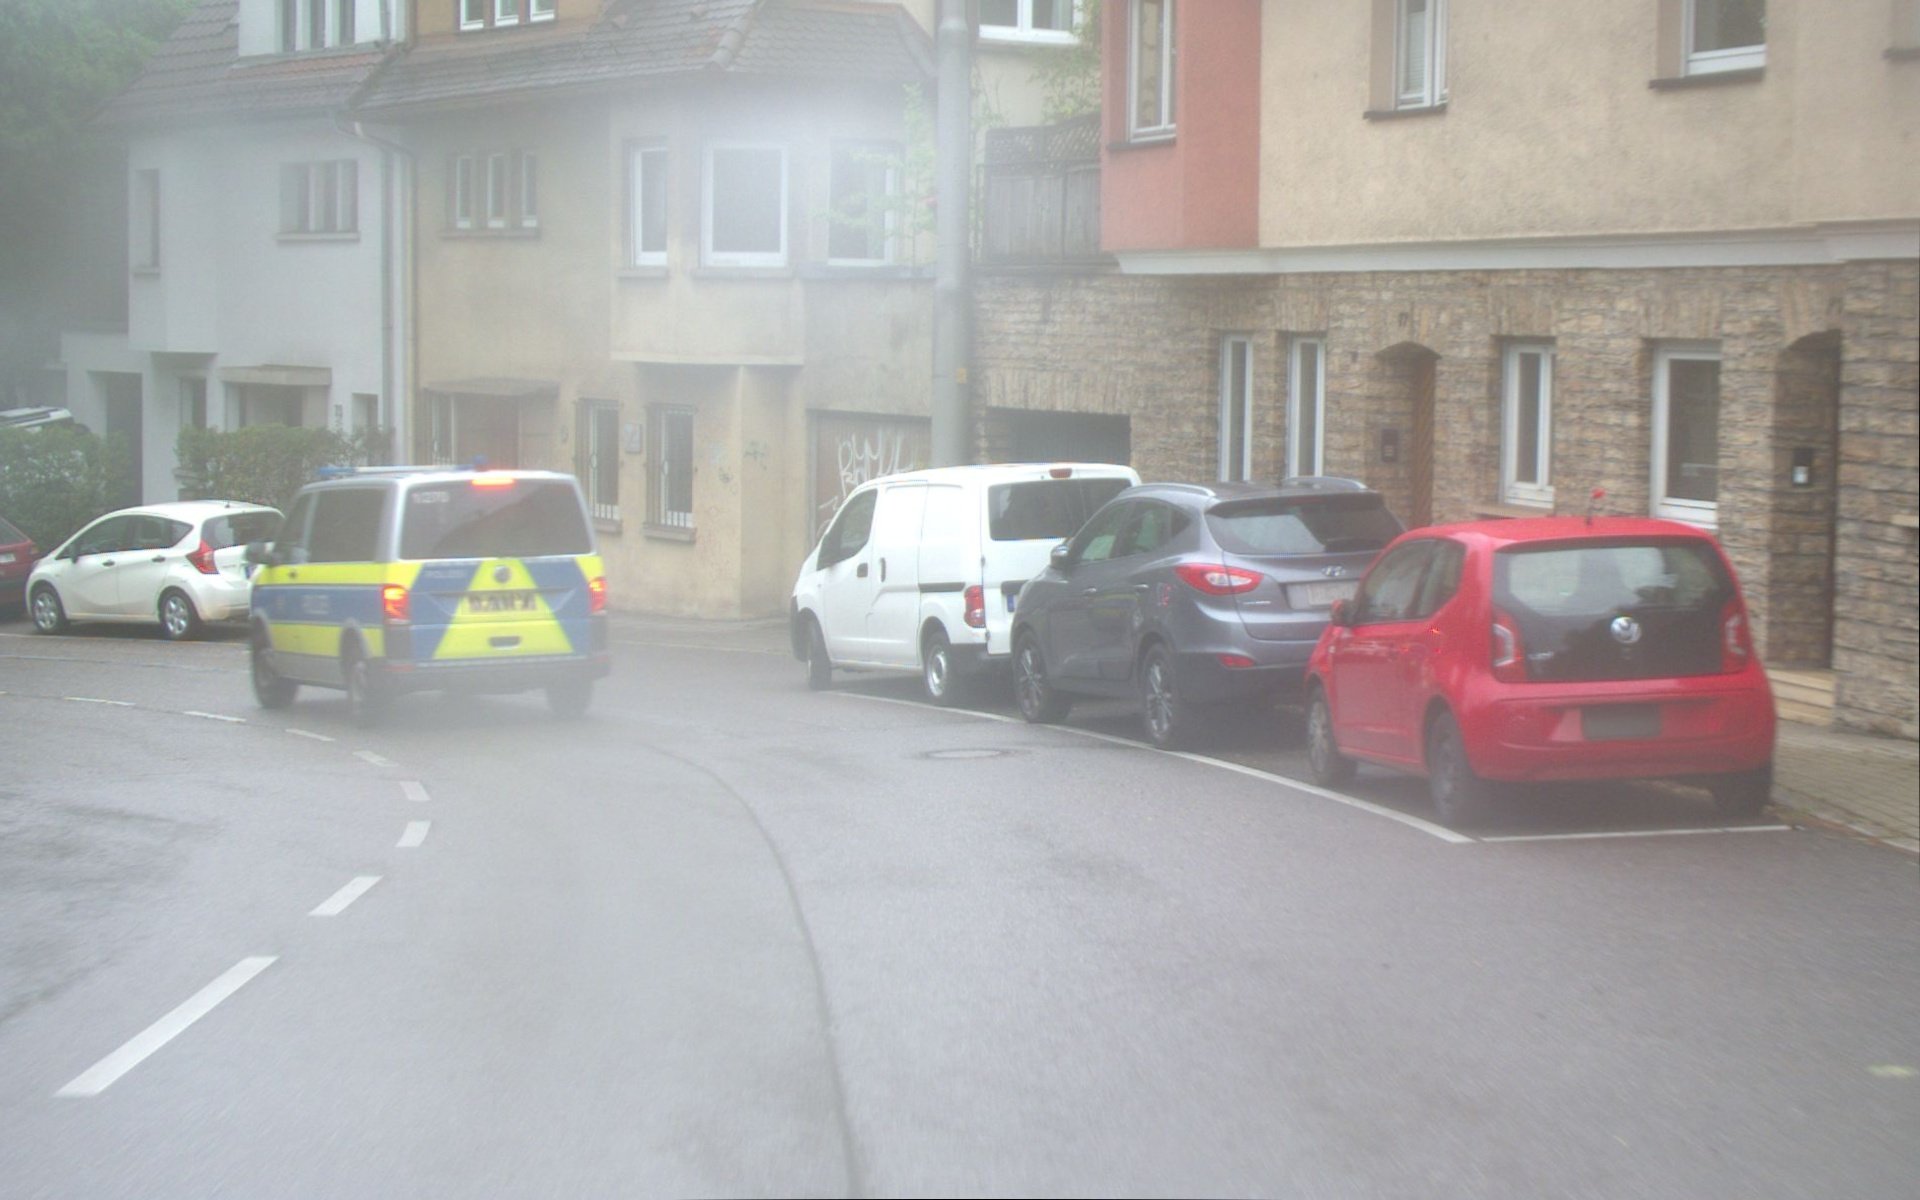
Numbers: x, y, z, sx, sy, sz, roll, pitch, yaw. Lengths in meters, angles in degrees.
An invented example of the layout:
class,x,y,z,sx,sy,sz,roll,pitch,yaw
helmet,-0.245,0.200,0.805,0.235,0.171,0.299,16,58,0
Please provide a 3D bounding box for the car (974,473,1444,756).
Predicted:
class,x,y,z,sx,sy,sz,roll,pitch,yaw
car,1.542,0.003,23.009,1.614,1.599,4.413,-4,3,-16

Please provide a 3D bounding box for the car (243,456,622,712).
class,x,y,z,sx,sy,sz,roll,pitch,yaw
car,-4.365,-0.136,27.835,1.993,1.887,4.571,-1,0,-22

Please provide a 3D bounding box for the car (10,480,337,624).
class,x,y,z,sx,sy,sz,roll,pitch,yaw
car,-9.192,-0.561,40.063,3.820,1.509,1.766,0,4,42

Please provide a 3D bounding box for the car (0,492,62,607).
class,x,y,z,sx,sy,sz,roll,pitch,yaw
car,-13.499,-0.580,43.171,4.189,1.362,1.783,-1,4,30

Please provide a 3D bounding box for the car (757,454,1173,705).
class,x,y,z,sx,sy,sz,roll,pitch,yaw
car,-0.059,-0.239,27.861,1.705,1.784,4.327,-4,4,-23

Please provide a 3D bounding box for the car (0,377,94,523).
class,x,y,z,sx,sy,sz,roll,pitch,yaw
car,-15.025,-1.878,49.318,4.398,1.835,2.000,-15,11,-30

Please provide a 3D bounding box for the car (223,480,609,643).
class,x,y,z,sx,sy,sz,roll,pitch,yaw
car,-5.850,-0.429,36.648,1.915,1.533,4.413,-6,4,-41

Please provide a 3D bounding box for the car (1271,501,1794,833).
class,x,y,z,sx,sy,sz,roll,pitch,yaw
car,2.856,0.257,17.884,1.614,1.430,3.583,-2,3,-9
